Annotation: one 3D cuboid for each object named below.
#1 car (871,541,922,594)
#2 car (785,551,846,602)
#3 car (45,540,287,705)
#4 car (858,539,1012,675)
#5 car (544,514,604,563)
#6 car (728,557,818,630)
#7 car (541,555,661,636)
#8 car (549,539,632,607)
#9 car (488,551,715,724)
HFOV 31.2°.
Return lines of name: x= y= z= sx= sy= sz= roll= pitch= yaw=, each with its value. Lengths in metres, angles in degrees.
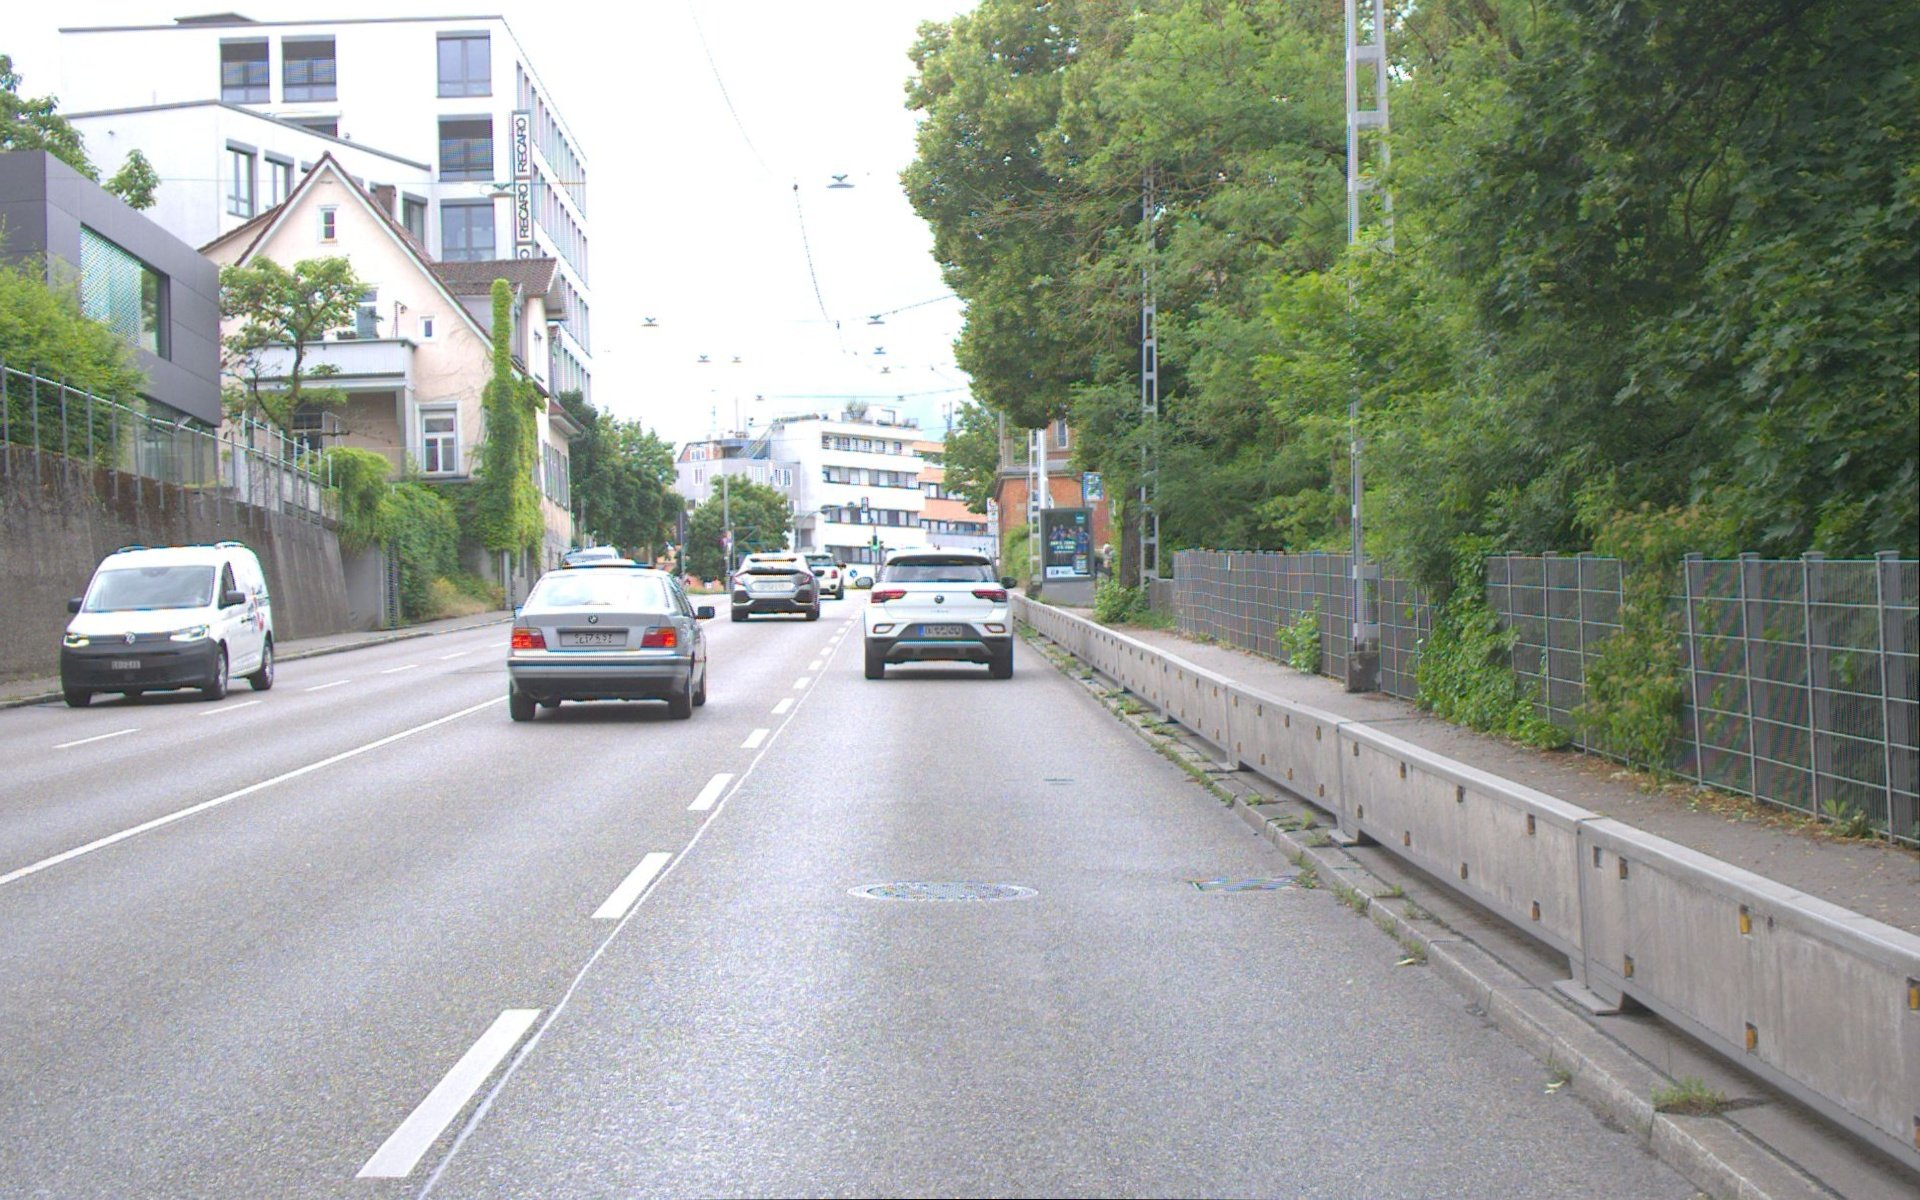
car: x=-2.135 y=-1.111 z=116.232 sx=1.656 sy=1.759 sz=3.287 roll=0 pitch=1 yaw=0
car: x=-4.328 y=-0.733 z=103.556 sx=1.706 sy=1.459 sz=4.000 roll=-1 pitch=1 yaw=-1
car: x=-9.381 y=0.210 z=40.987 sx=1.732 sy=1.782 sz=4.867 roll=-2 pitch=1 yaw=-1
car: x=-0.353 y=0.060 z=41.843 sx=1.780 sy=1.573 sz=4.000 roll=0 pitch=1 yaw=-2
car: x=-13.883 y=-2.217 z=123.710 sx=1.993 sy=1.695 sz=4.001 roll=-1 pitch=1 yaw=-5
car: x=-3.936 y=-0.159 z=72.707 sx=1.706 sy=1.459 sz=4.000 roll=-1 pitch=1 yaw=-1
car: x=-6.843 y=-0.114 z=65.815 sx=1.815 sy=1.382 sz=4.463 roll=-3 pitch=1 yaw=-1
car: x=-10.220 y=-0.775 z=95.442 sx=1.816 sy=1.778 sz=4.495 roll=-2 pitch=1 yaw=-1
car: x=-3.247 y=0.295 z=31.786 sx=1.706 sy=1.459 sz=4.000 roll=-1 pitch=1 yaw=-1
